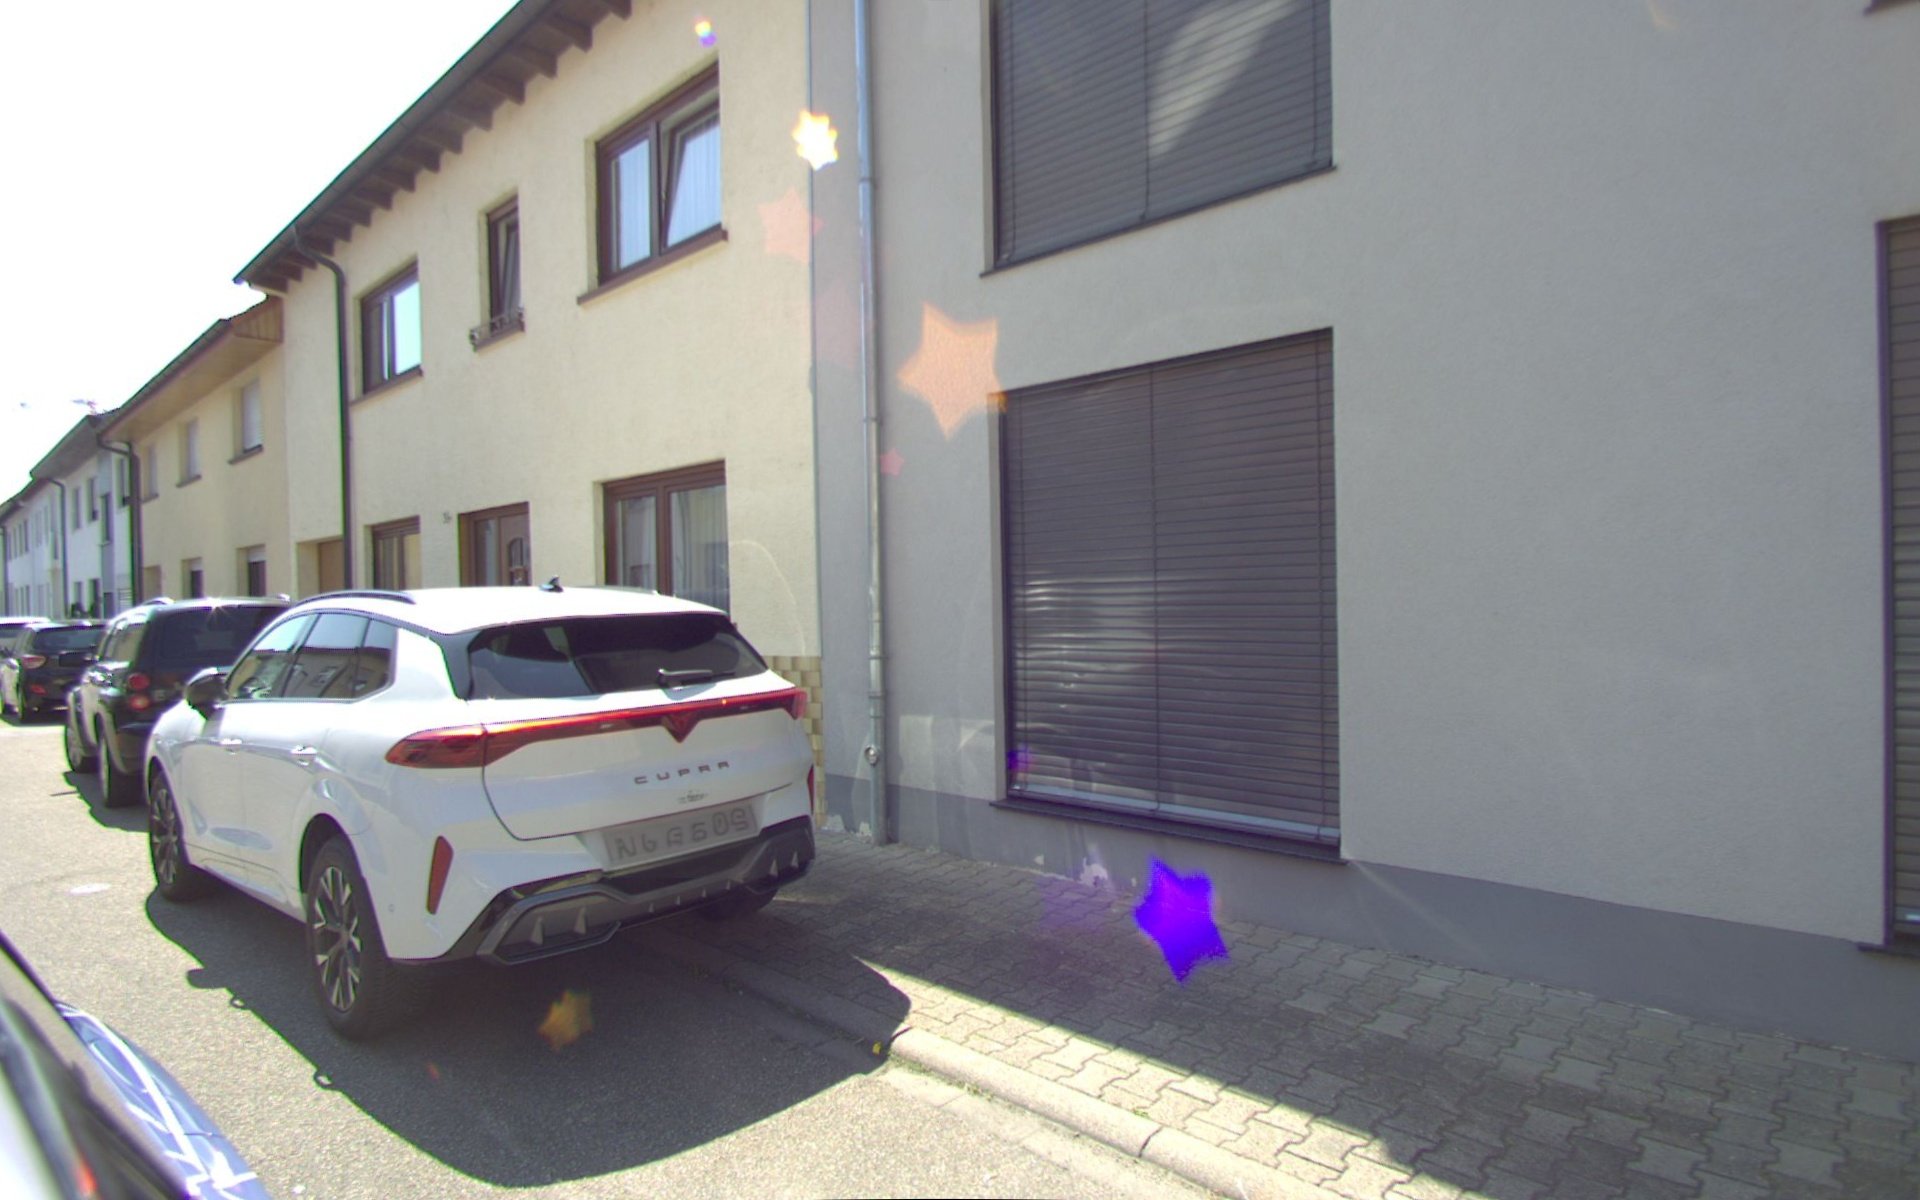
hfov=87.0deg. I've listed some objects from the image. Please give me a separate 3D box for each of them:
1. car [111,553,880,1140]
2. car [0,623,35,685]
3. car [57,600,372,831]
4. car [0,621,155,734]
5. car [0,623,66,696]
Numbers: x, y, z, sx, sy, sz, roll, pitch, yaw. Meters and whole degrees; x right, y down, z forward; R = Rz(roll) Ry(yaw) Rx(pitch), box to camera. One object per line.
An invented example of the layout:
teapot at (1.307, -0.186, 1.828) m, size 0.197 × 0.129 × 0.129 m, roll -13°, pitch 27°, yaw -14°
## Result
car at (-2.542, 0.712, 4.908) m, size 4.346 × 1.627 × 1.756 m, roll -1°, pitch -1°, yaw 41°
car at (-26.425, 1.451, 27.314) m, size 3.685 × 1.553 × 1.646 m, roll -1°, pitch 1°, yaw 40°
car at (-6.898, 0.847, 9.196) m, size 3.991 × 1.627 × 1.703 m, roll -1°, pitch -1°, yaw 45°
car at (-14.224, 1.121, 16.065) m, size 3.941 × 1.549 × 1.623 m, roll -1°, pitch -1°, yaw 42°
car at (-22.376, 1.351, 23.682) m, size 3.939 × 1.560 × 1.646 m, roll -1°, pitch 0°, yaw 40°
